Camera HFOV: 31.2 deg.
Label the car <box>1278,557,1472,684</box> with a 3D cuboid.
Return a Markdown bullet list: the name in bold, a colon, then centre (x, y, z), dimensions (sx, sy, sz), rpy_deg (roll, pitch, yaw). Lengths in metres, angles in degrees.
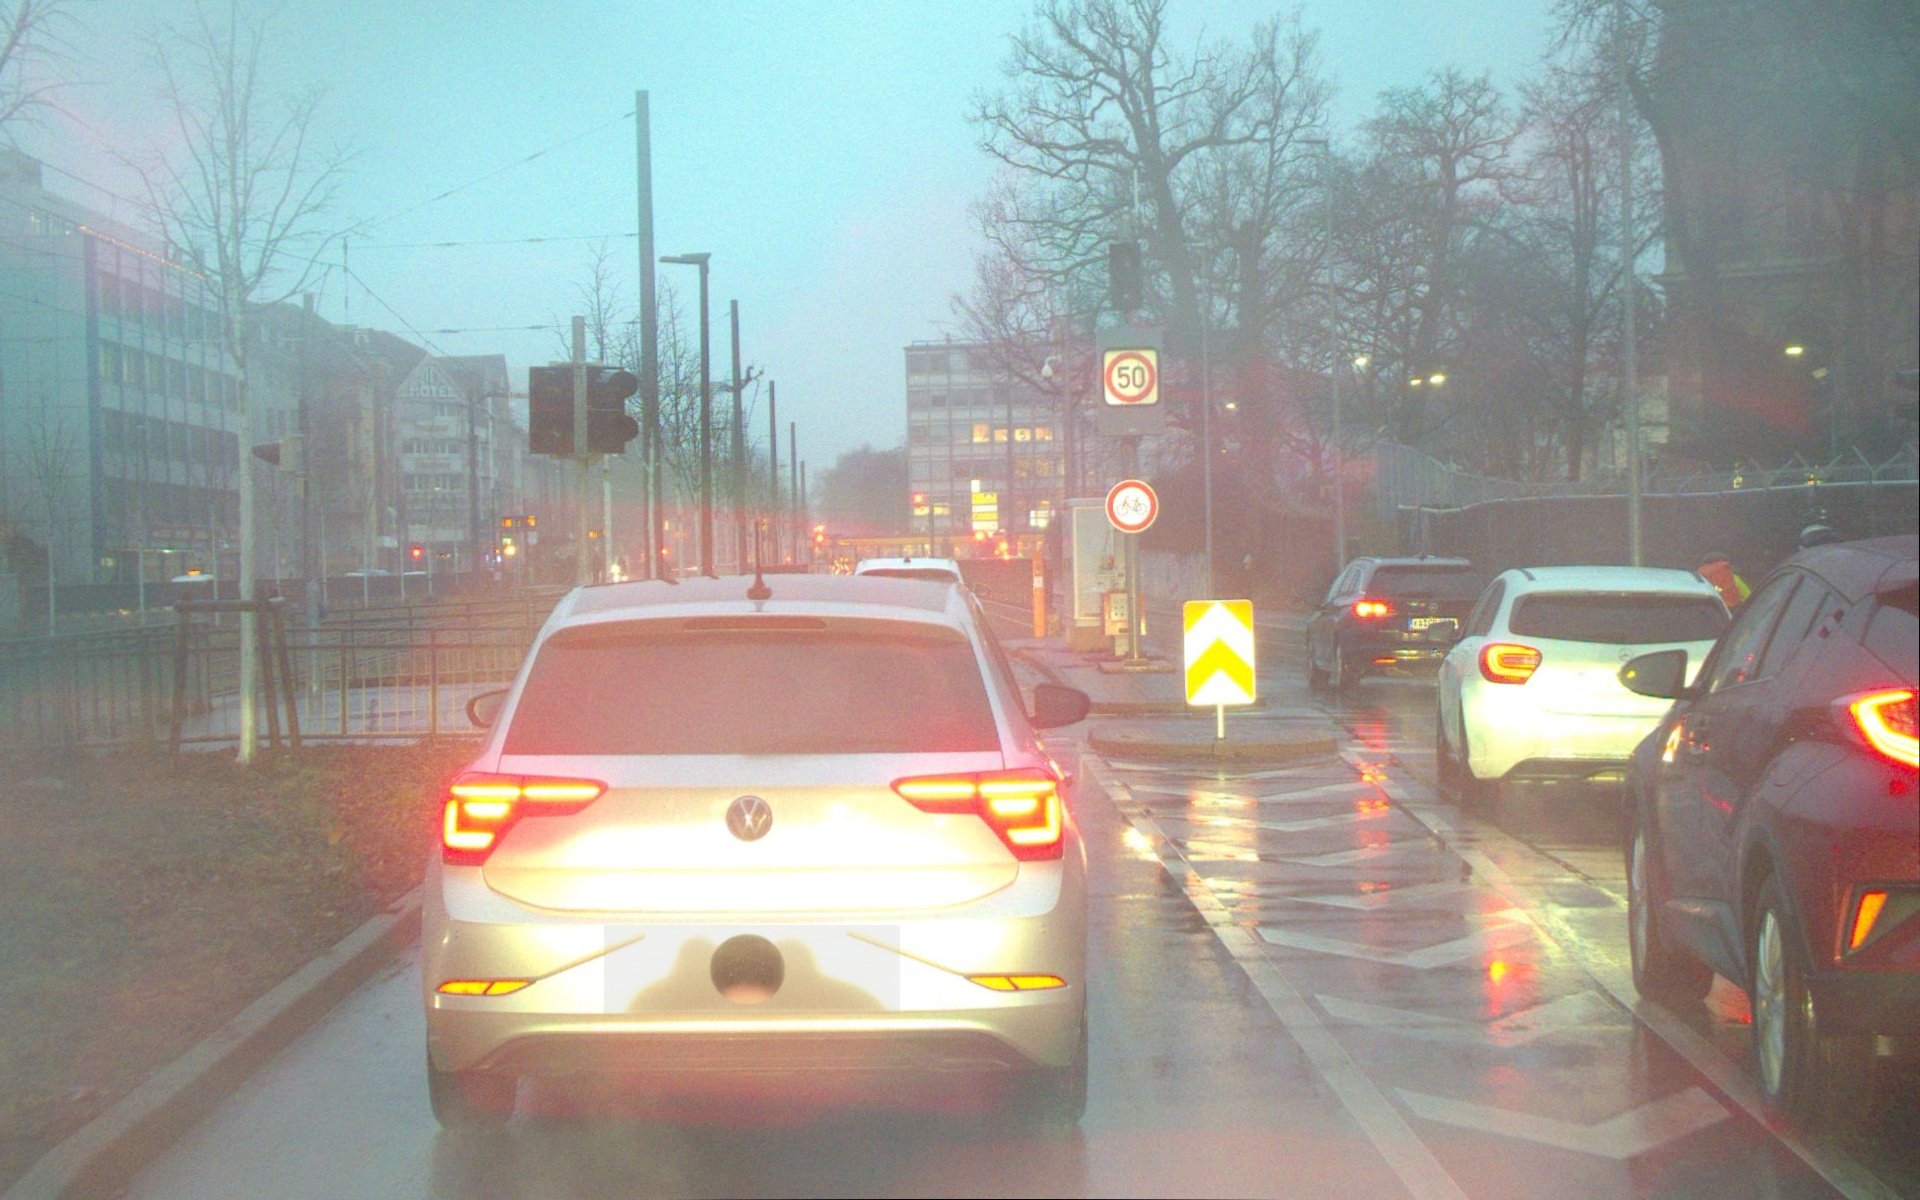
- **car**: centre (4.492, 0.209, 37.676), dimensions (1.623, 1.295, 4.000), rpy_deg (1, 0, 0)

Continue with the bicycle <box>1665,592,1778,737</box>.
- **bicycle**: centre (6.576, 0.537, 29.760), dimensions (0.411, 1.181, 1.948), rpy_deg (-1, 1, -3)

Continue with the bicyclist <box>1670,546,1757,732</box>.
- **bicyclist**: centre (6.539, 0.329, 29.868), dimensions (0.500, 1.586, 0.837), rpy_deg (-1, 1, -3)

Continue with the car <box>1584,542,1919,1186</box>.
- **car**: centre (2.889, 0.612, 9.839), dimensions (1.722, 1.474, 3.999), rpy_deg (1, 0, 4)

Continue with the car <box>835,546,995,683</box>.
- **car**: centre (-0.492, 0.153, 39.291), dimensions (1.722, 1.474, 4.000), rpy_deg (1, 0, 0)

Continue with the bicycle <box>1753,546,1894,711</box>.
- **bicycle**: centre (6.445, 0.189, 25.745), dimensions (0.411, 1.181, 2.029), rpy_deg (-1, 1, -3)

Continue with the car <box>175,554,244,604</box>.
- **car**: centre (-30.843, -0.885, 141.437), dimensions (1.993, 1.926, 4.913), rpy_deg (-2, 1, -4)

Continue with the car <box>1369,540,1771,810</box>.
- **car**: centre (3.611, 0.411, 20.999), dimensions (1.722, 1.474, 4.000), rpy_deg (1, 0, 0)

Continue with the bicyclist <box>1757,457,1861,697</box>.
- **bicyclist**: centre (6.390, -0.177, 25.888), dimensions (0.500, 1.761, 0.837), rpy_deg (-1, 1, -3)

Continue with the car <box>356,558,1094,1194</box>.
- **car**: centre (-0.556, 0.625, 10.083), dimensions (1.722, 1.474, 4.000), rpy_deg (1, 1, 0)
